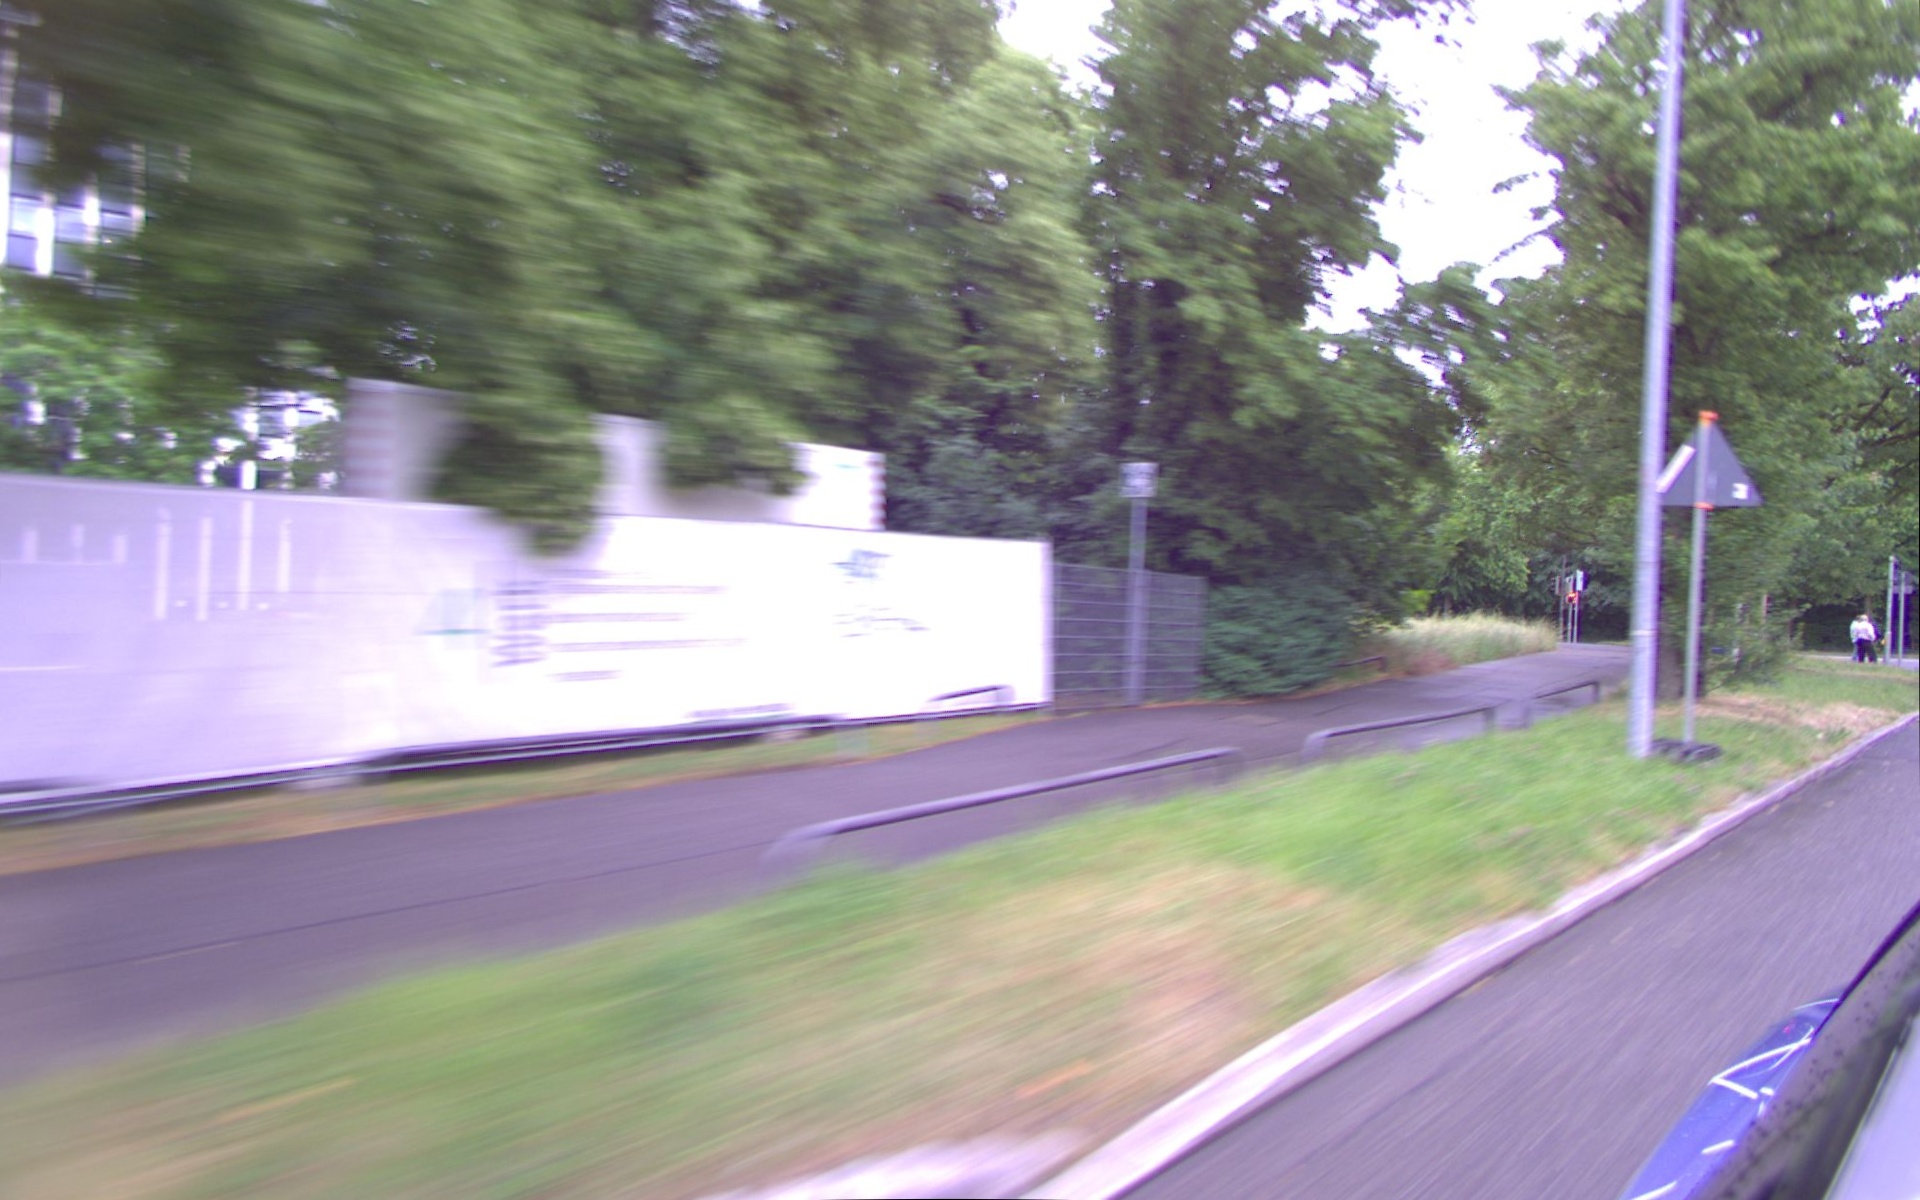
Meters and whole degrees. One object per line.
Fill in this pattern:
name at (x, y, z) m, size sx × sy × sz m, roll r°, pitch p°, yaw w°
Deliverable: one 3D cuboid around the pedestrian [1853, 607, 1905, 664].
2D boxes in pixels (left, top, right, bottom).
pedestrian at (28.876, 1.109, 31.820) m, size 0.731 × 1.743 × 1.022 m, roll 0°, pitch 0°, yaw 3°
